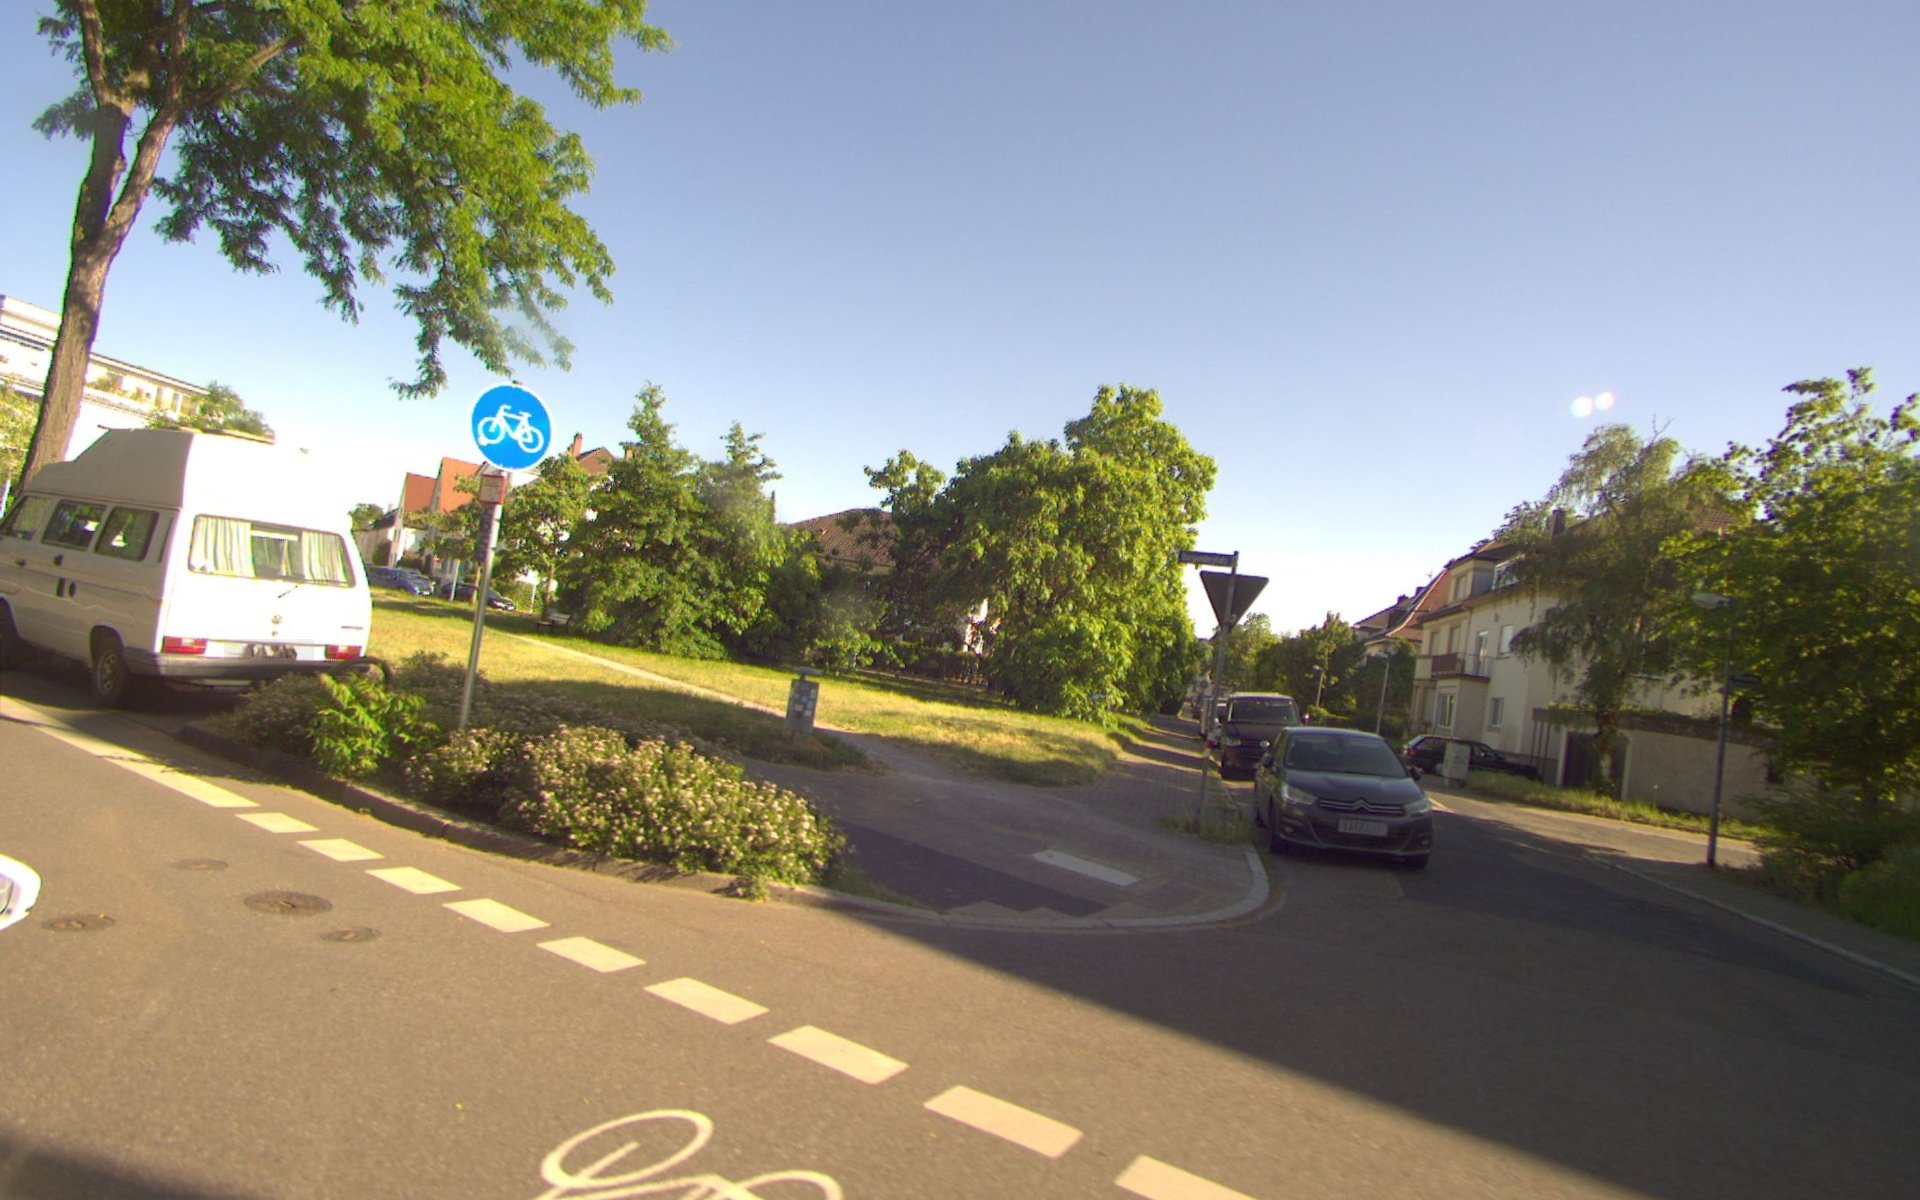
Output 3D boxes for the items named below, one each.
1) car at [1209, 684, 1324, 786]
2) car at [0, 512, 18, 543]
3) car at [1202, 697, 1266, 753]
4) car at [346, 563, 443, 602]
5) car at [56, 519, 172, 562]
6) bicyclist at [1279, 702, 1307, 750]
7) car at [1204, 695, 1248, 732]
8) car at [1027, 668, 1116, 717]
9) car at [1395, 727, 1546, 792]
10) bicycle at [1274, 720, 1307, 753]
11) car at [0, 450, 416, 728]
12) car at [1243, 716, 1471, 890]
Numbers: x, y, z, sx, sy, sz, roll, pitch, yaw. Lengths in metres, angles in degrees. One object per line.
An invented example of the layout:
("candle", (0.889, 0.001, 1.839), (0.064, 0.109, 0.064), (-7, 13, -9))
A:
("car", (7.344, 3.212, 24.586), (2.060, 1.904, 5.226), (8, -4, 13))
("car", (-47.032, -3.784, 46.587), (1.931, 1.384, 4.534), (8, -3, 13))
("car", (10.067, 4.541, 36.928), (1.962, 1.610, 4.236), (8, -3, 16))
("car", (-33.491, -1.010, 59.640), (4.665, 1.486, 2.069), (8, -3, 12))
("car", (-45.108, -3.127, 53.773), (1.805, 1.526, 4.301), (5, -4, 19))
("bicyclist", (15.235, 5.746, 46.049), (0.810, 2.036, 0.852), (8, -2, 9))
("car", (15.814, 6.736, 59.945), (1.962, 1.791, 4.007), (8, -3, 10))
("car", (5.612, 4.642, 50.397), (3.925, 1.816, 2.003), (8, -3, 18))
("car", (18.865, 5.877, 37.389), (4.497, 1.517, 2.003), (8, -2, 13))
("bicycle", (15.173, 6.241, 46.232), (0.784, 1.245, 2.668), (8, -3, 7))
("car", (-7.972, -0.167, 10.147), (4.636, 2.119, 1.999), (7, -2, 30))
("car", (4.845, 2.408, 12.961), (1.971, 1.506, 4.471), (4, -4, 13))
